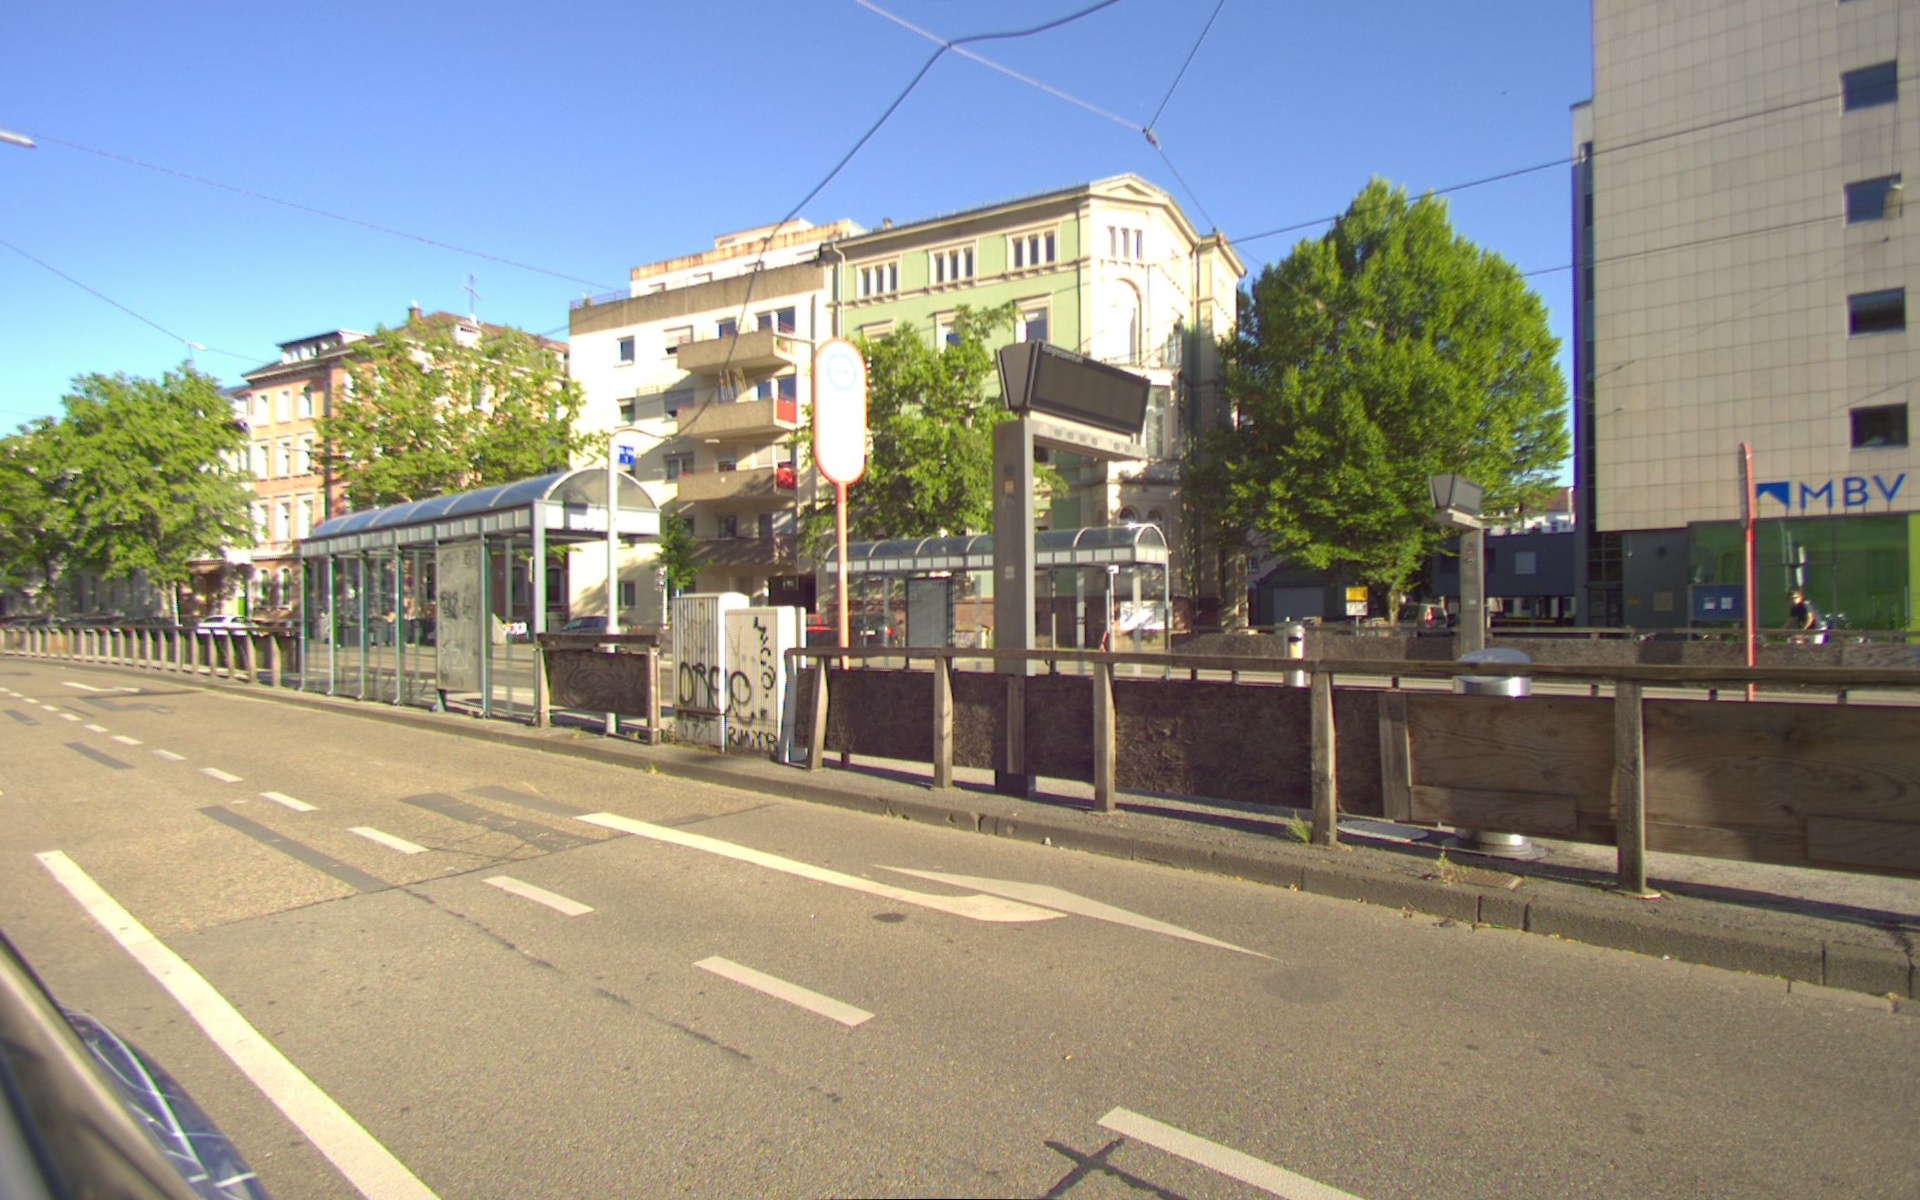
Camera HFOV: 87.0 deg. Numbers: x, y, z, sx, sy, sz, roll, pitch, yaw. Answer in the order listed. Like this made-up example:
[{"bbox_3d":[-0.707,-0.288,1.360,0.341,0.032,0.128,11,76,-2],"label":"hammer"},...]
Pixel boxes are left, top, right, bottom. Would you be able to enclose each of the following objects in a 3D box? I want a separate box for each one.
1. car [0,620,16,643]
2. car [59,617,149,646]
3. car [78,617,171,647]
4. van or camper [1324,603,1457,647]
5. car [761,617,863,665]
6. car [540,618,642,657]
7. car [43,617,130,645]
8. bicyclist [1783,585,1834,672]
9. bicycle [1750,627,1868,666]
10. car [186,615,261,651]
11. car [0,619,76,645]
[{"bbox_3d":[-68.097,2.186,70.133,2.001,1.604,3.812,-2,-2,44],"label":"car"},{"bbox_3d":[-51.291,1.883,60.646,2.001,1.697,3.942,-2,-2,44],"label":"car"},{"bbox_3d":[-47.974,1.820,58.173,2.001,1.697,3.942,-2,-2,44],"label":"car"},{"bbox_3d":[15.505,0.883,36.557,3.998,1.417,1.943,2,0,41],"label":"van or camper"},{"bbox_3d":[-5.001,1.362,34.702,1.763,1.547,3.763,-1,-2,23],"label":"car"},{"bbox_3d":[-14.002,1.410,38.408,3.498,1.406,1.602,-1,-2,22],"label":"car"},{"bbox_3d":[-54.299,1.929,62.975,2.001,1.697,3.942,-2,-2,44],"label":"car"},{"bbox_3d":[17.624,0.592,21.031,0.770,1.774,0.529,-1,-2,41],"label":"bicyclist"},{"bbox_3d":[17.617,0.951,21.039,1.852,0.793,0.529,-1,-2,41],"label":"bicycle"},{"bbox_3d":[-39.520,1.748,54.391,1.966,1.736,4.012,0,1,-15],"label":"car"},{"bbox_3d":[-59.608,2.054,65.287,3.811,1.604,2.001,1,-2,-45],"label":"car"}]
